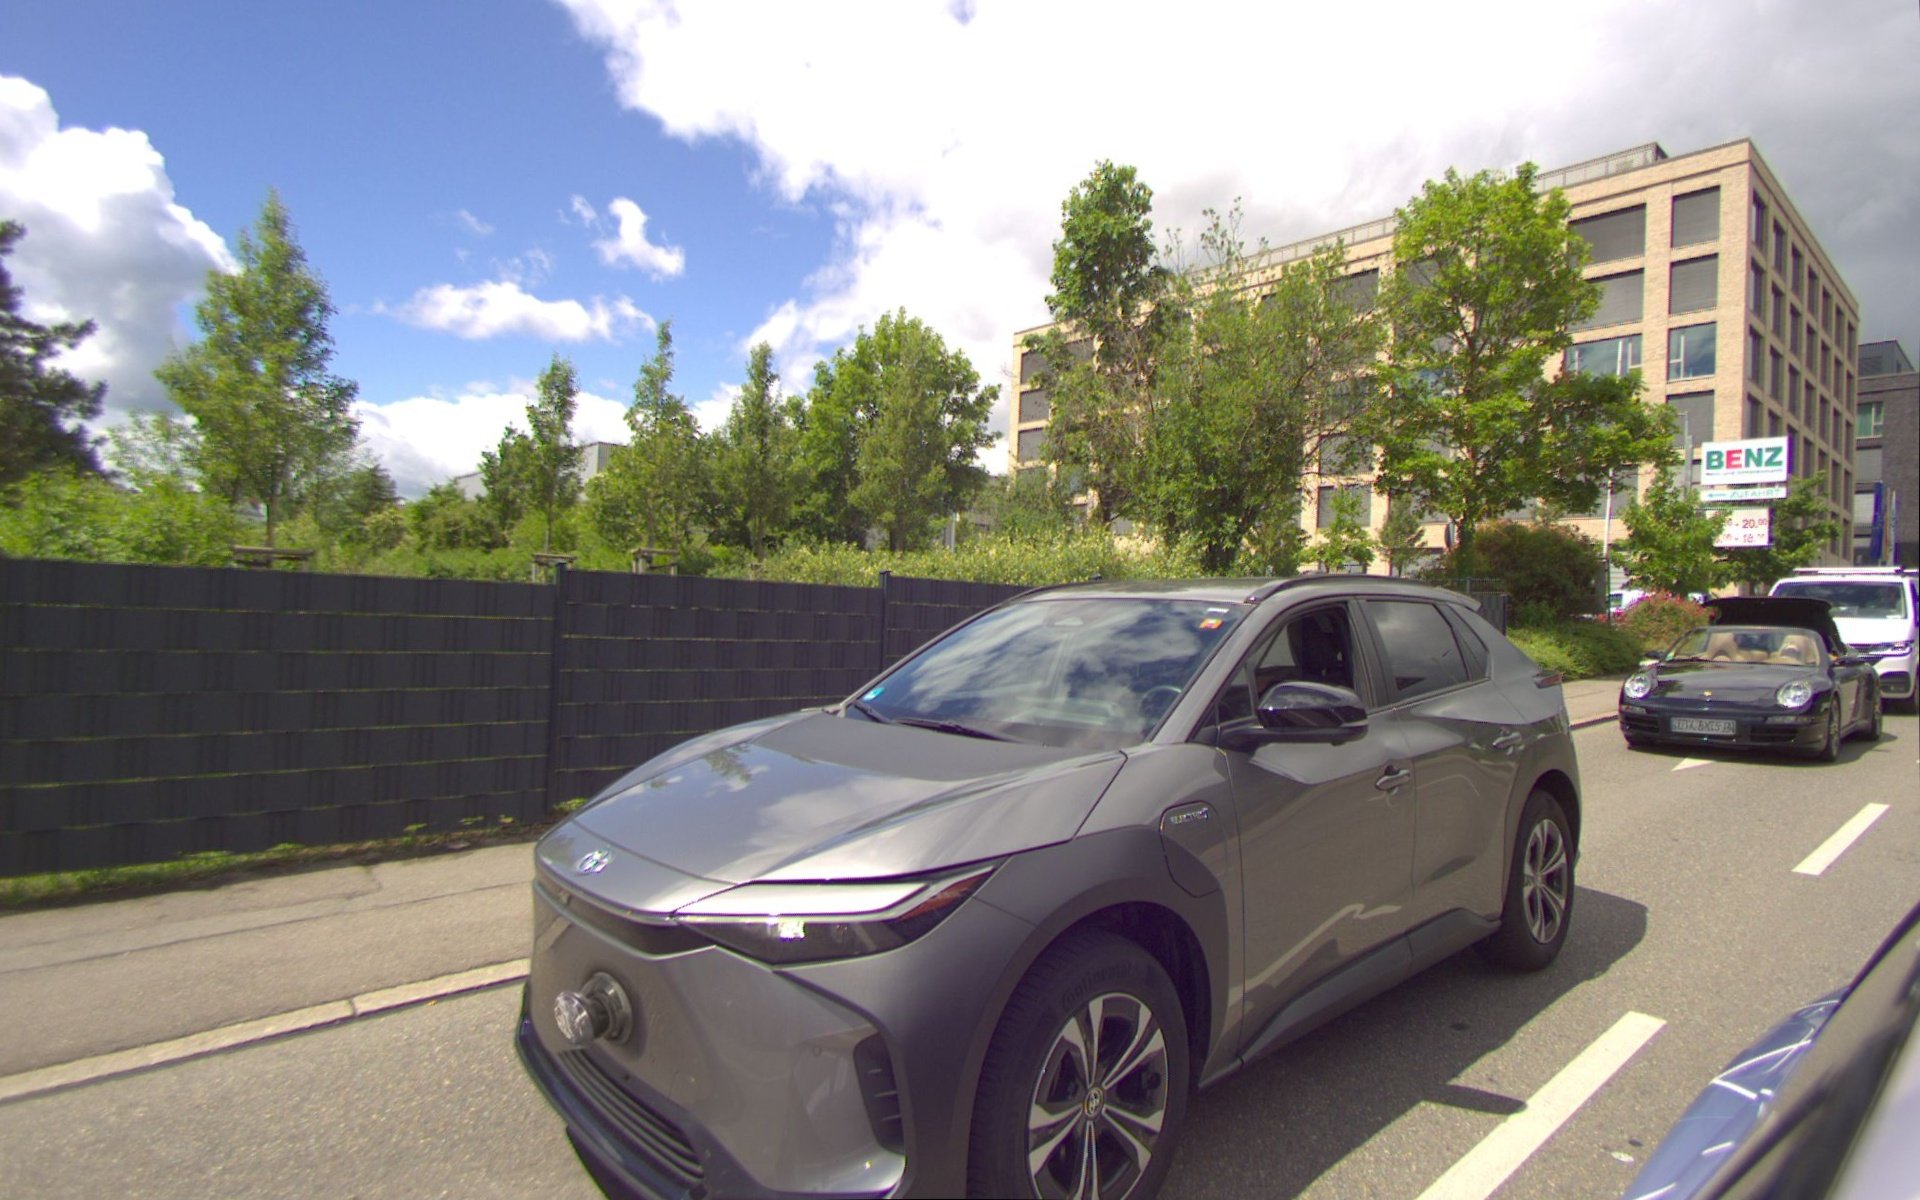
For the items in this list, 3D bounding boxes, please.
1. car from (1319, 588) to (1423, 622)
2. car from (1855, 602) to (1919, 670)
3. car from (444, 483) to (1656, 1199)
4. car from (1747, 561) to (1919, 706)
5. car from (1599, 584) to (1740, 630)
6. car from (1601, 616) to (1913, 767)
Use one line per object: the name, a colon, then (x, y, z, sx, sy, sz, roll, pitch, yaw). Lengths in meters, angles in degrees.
car: (19.387, 0.194, 47.842, 1.705, 1.436, 4.215, 1, 1, -41)
car: (20.511, 0.719, 21.237, 4.485, 1.290, 1.778, 0, 1, -38)
car: (0.804, 0.651, 3.829, 4.601, 1.634, 1.922, 0, -1, -41)
car: (13.559, 0.448, 15.148, 4.563, 1.874, 1.962, 0, -1, -41)
car: (27.449, 0.240, 39.238, 1.707, 1.596, 4.211, 1, 1, -44)
car: (8.766, 0.830, 10.983, 4.487, 1.290, 1.776, 0, -1, -40)
